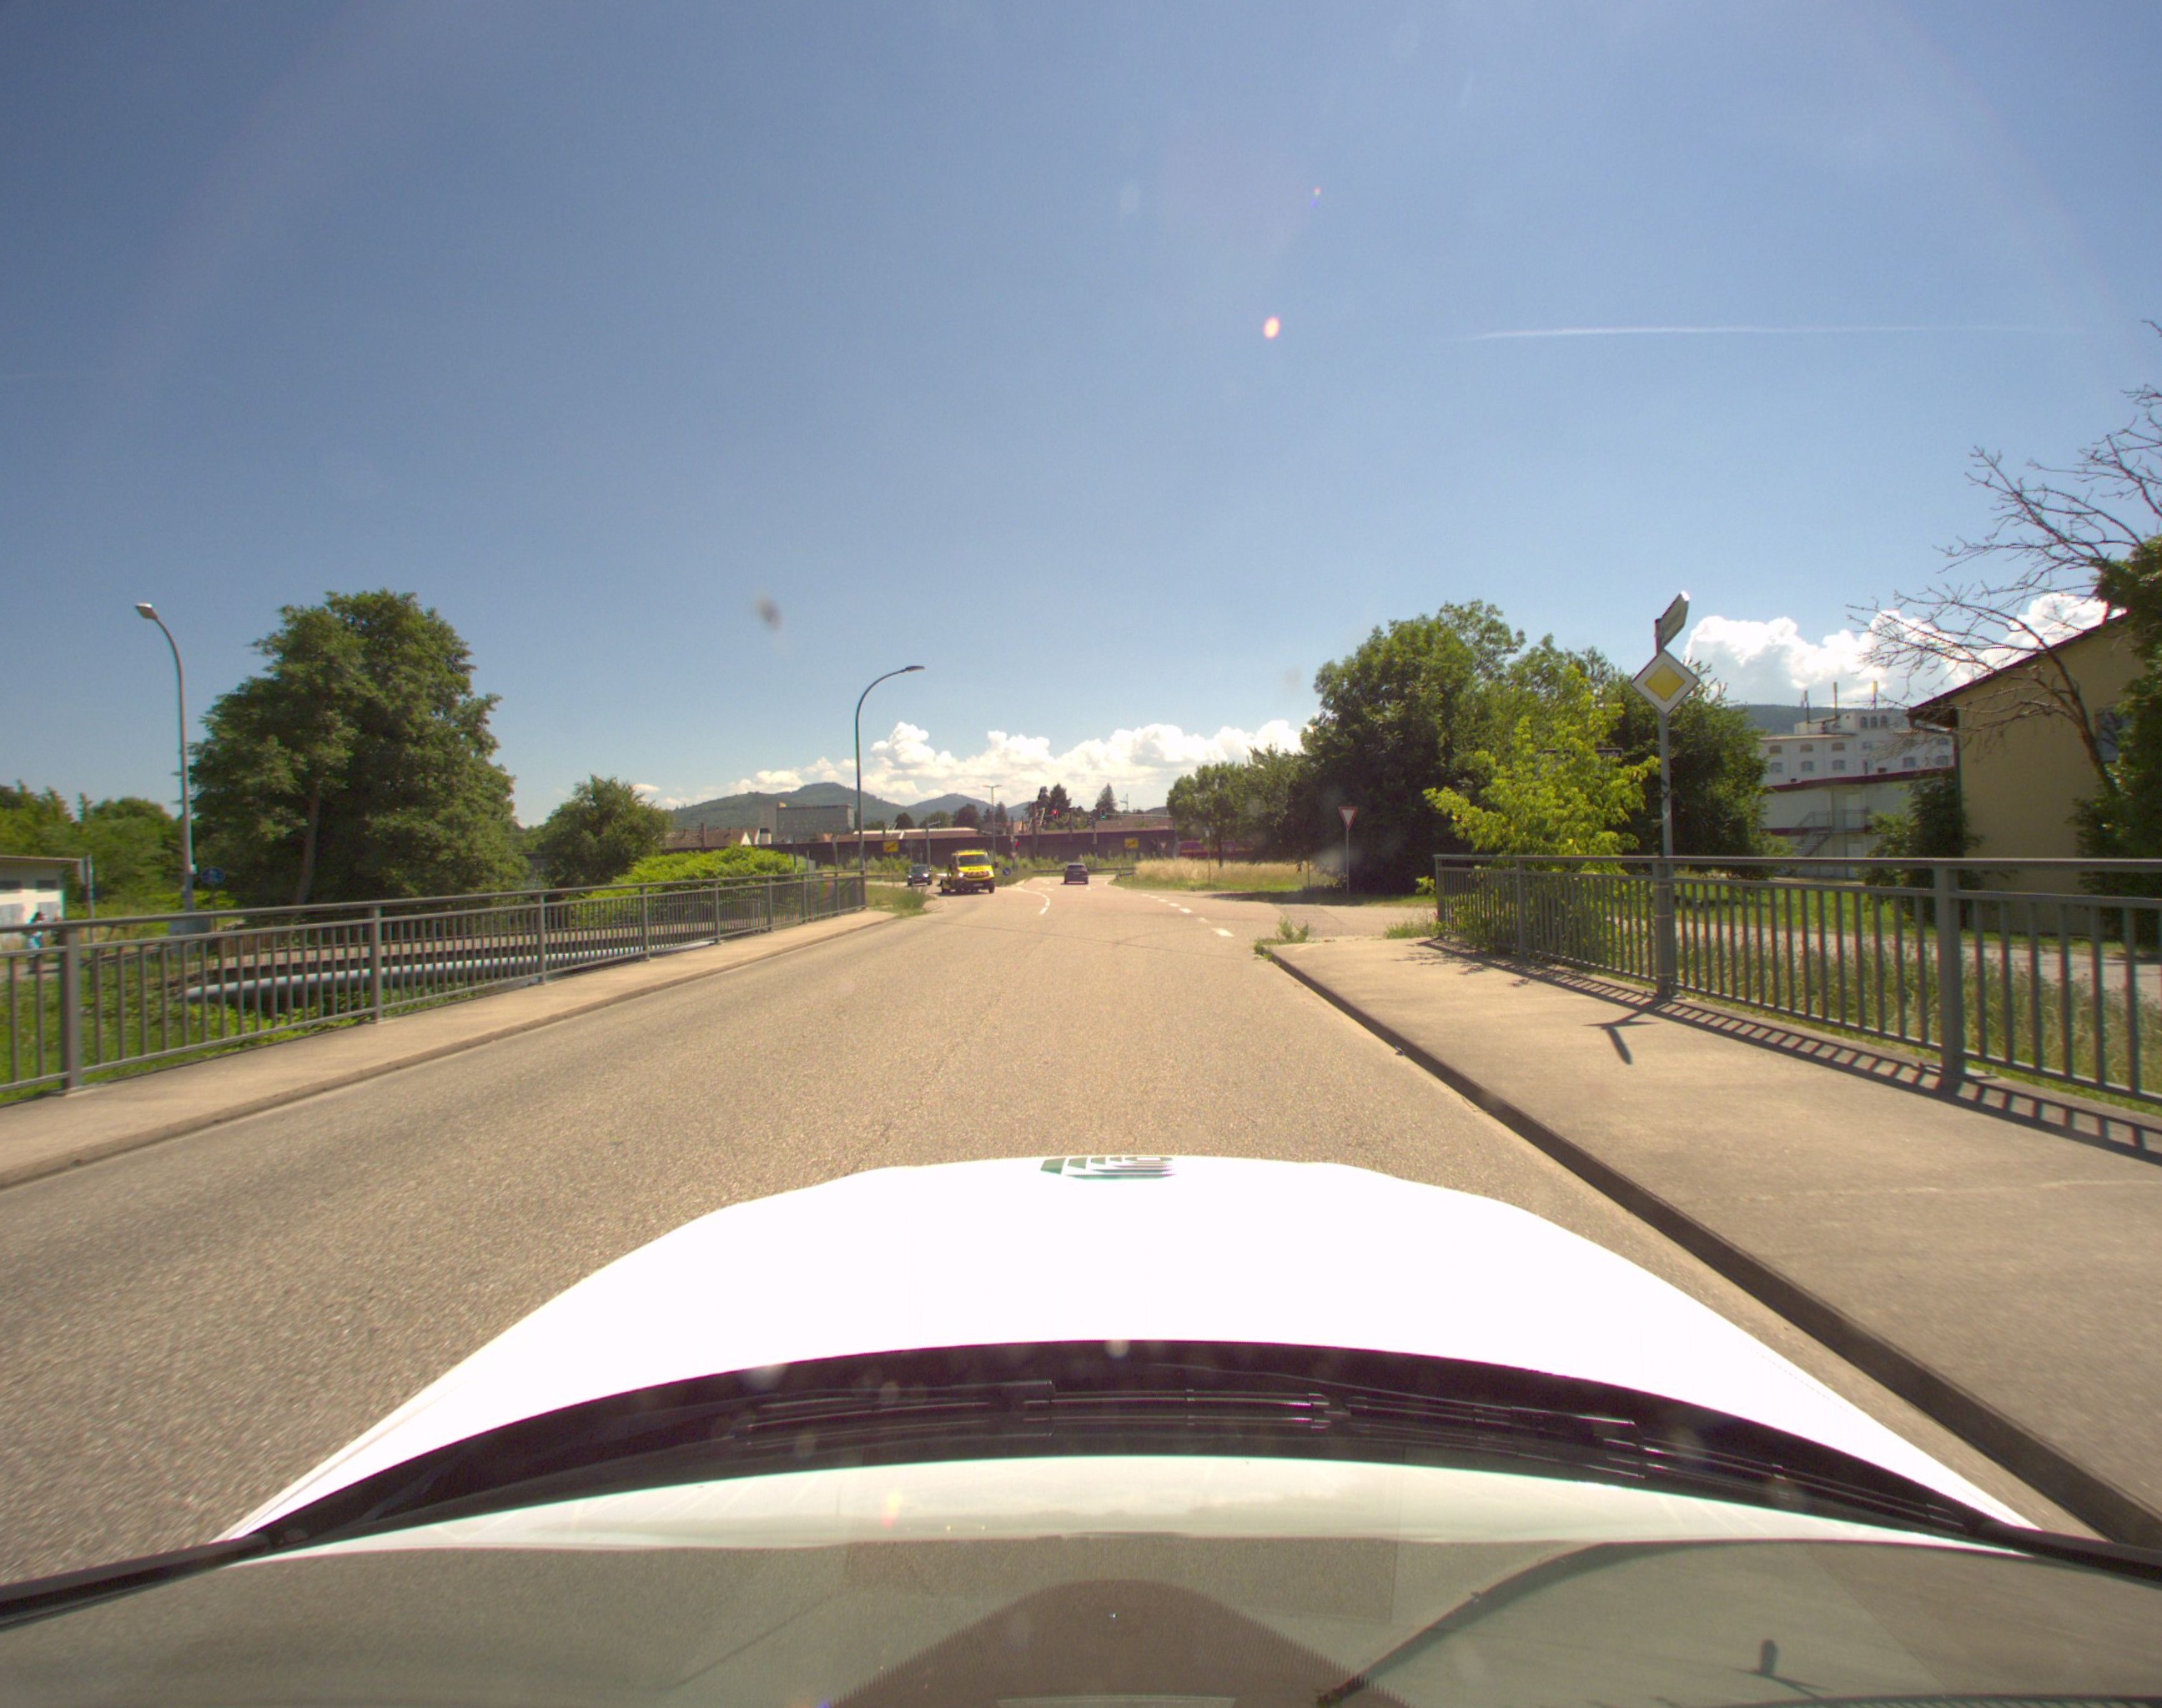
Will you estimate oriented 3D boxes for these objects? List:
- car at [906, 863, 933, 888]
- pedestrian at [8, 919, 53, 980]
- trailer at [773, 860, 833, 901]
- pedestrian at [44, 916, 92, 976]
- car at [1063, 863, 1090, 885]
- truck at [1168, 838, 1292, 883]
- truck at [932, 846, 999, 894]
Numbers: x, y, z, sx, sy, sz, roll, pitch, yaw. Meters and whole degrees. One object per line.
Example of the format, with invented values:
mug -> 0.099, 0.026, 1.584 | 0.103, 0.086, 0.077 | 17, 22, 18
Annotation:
car -> -12.832, 1.643, 64.514 | 1.904, 1.702, 3.982 | -5, 1, -13
pedestrian -> -30.283, 2.741, 23.480 | 0.515, 1.674, 0.624 | 0, -1, -20
trailer -> -14.396, 1.339, 42.094 | 1.864, 2.014, 3.916 | 0, -1, -35
pedestrian -> -29.807, 2.695, 23.967 | 0.628, 1.674, 0.594 | 0, -1, -19
car -> -0.379, 1.452, 61.156 | 1.988, 1.503, 3.998 | 0, 0, -1
truck -> 14.738, 0.629, 80.802 | 11.766, 4.180, 2.996 | -1, -1, -9
truck -> -6.717, 0.979, 46.242 | 2.317, 2.337, 8.997 | -3, -1, -17
